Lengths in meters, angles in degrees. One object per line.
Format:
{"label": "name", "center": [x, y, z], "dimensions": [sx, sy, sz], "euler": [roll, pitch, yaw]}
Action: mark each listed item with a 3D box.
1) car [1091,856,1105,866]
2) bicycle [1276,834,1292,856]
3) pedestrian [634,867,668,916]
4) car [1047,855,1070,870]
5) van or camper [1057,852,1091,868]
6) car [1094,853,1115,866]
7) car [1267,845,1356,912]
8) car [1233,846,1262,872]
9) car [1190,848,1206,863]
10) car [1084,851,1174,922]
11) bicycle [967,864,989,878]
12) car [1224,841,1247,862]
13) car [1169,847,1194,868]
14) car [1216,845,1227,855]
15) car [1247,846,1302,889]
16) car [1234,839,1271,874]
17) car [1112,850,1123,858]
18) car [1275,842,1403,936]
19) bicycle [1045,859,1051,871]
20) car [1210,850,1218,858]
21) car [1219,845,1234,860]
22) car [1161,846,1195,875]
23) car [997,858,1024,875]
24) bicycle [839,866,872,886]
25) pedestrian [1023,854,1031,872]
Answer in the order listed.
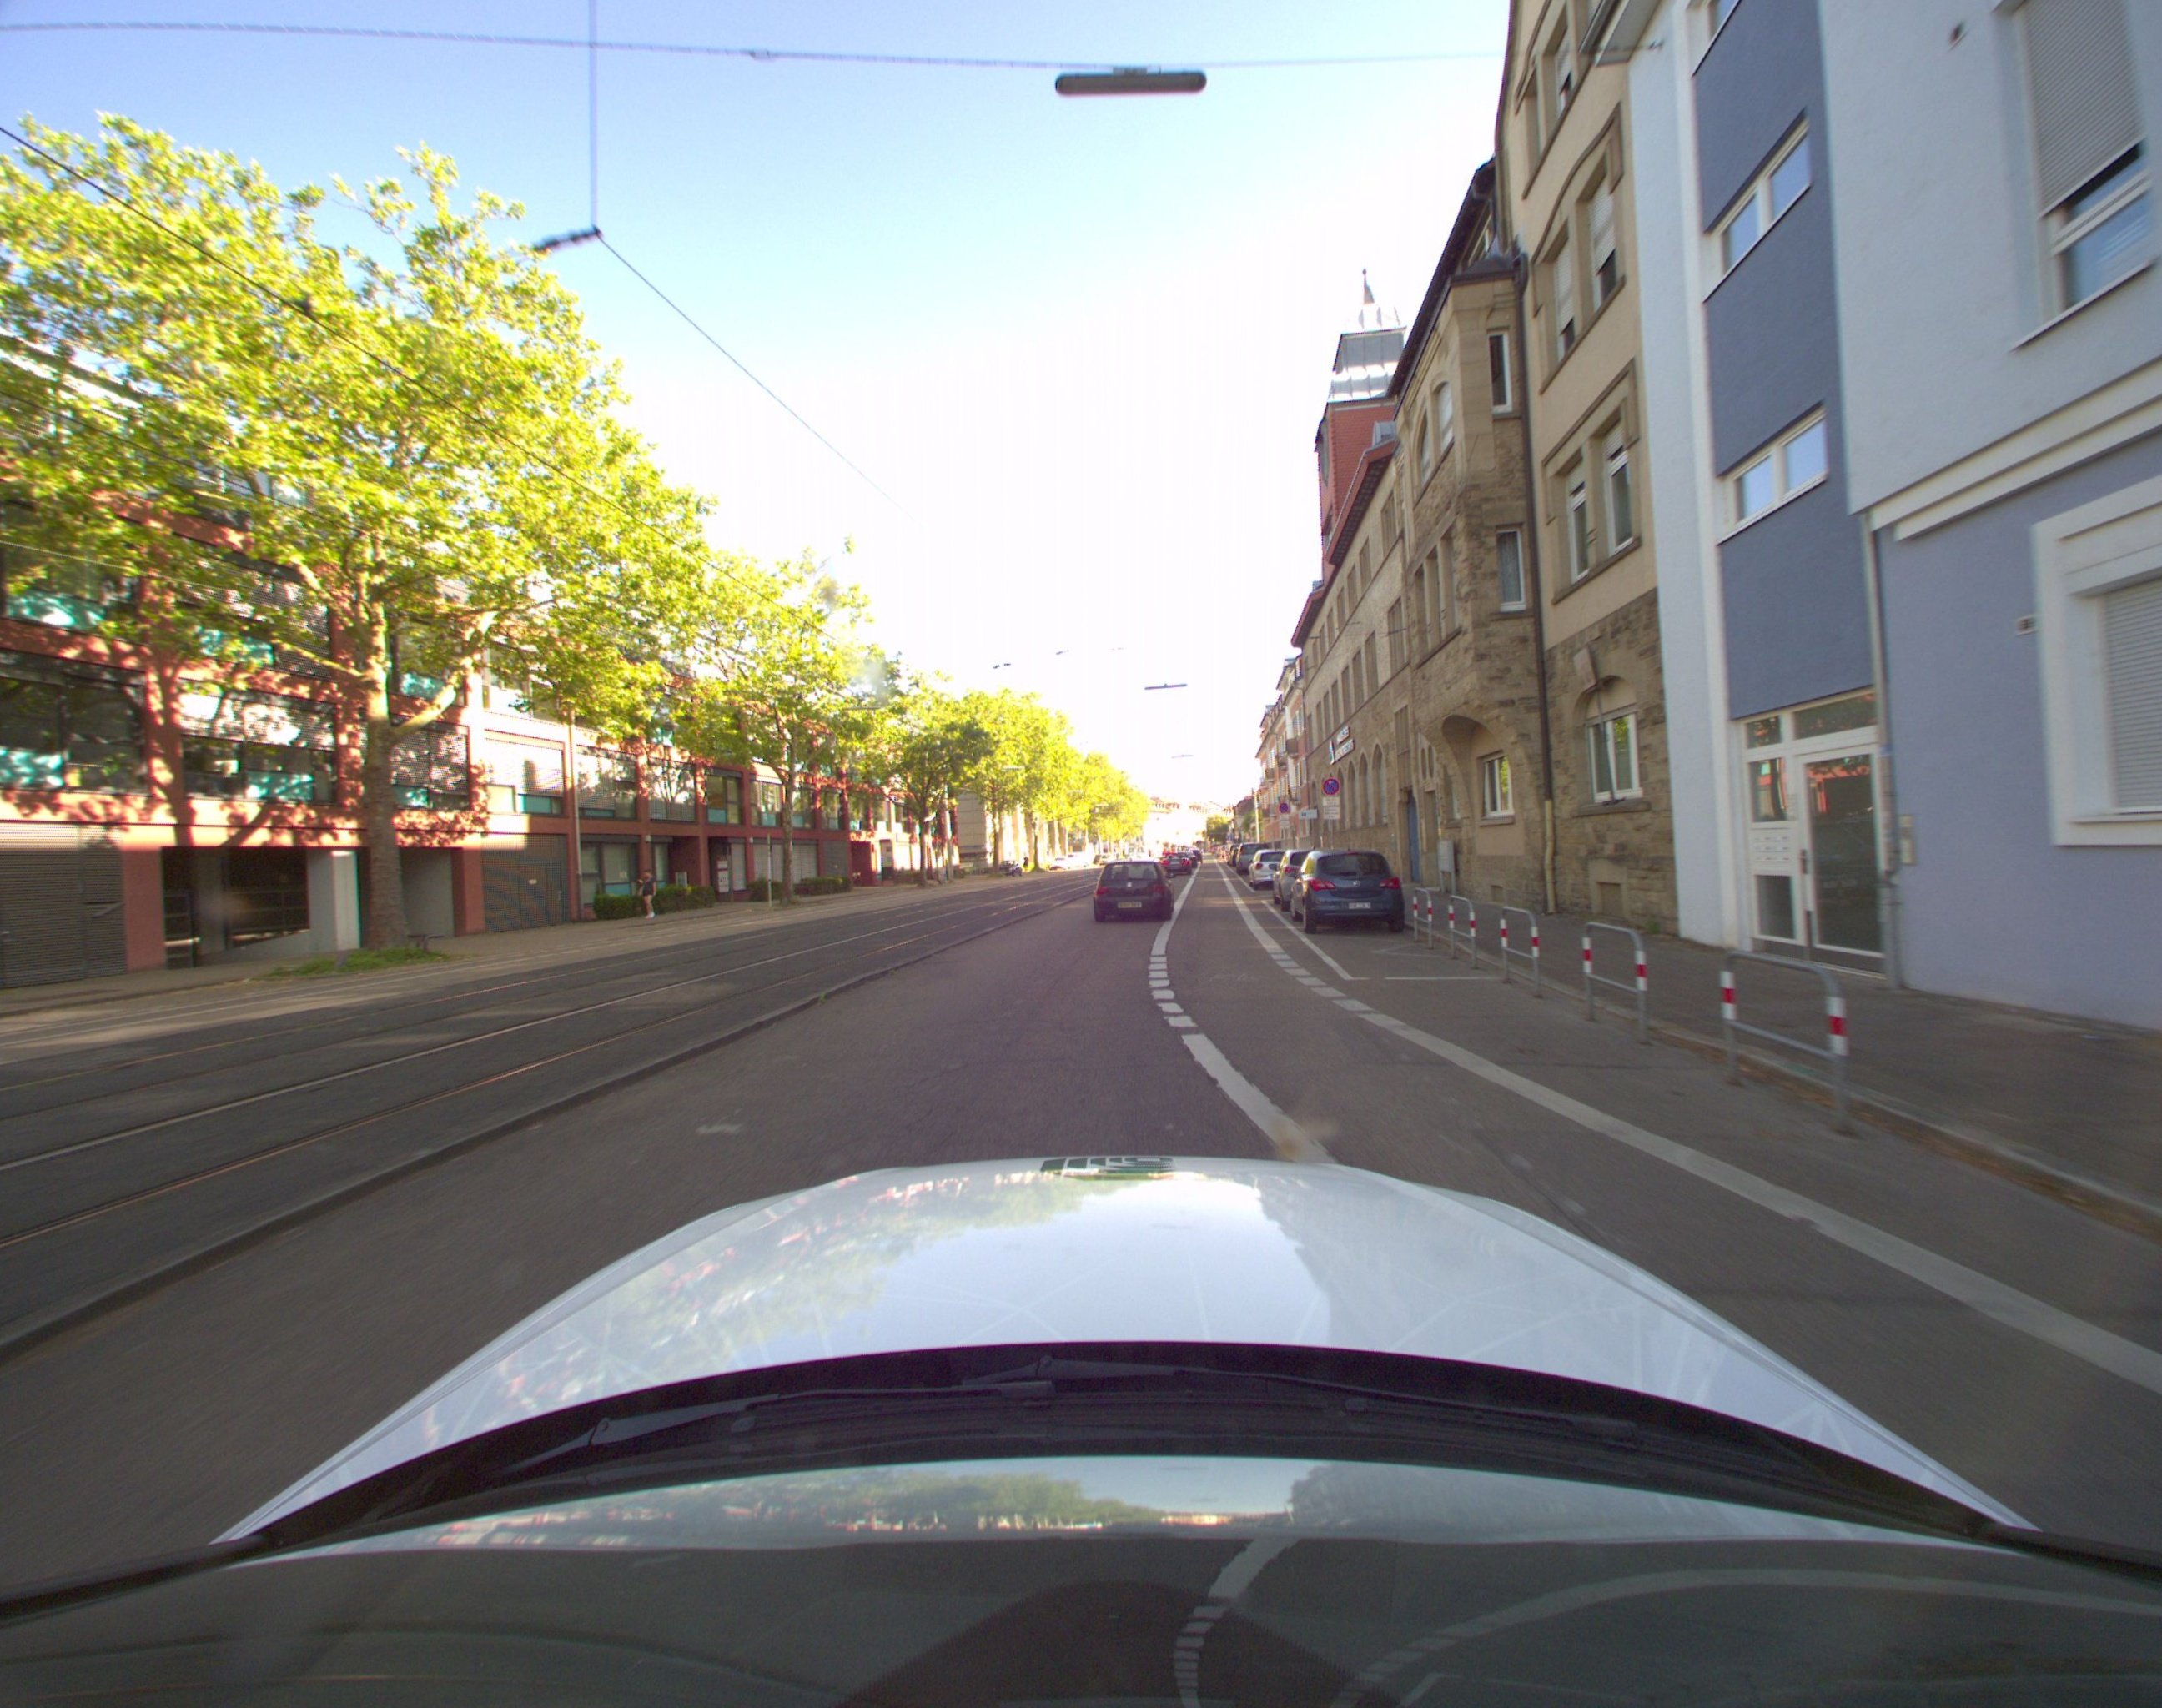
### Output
{"label": "car", "center": [2.707, 1.171, 129.676], "dimensions": [1.561, 1.533, 3.581], "euler": [-3, -1, 9]}
{"label": "bicycle", "center": [10.784, -0.473, 43.347], "dimensions": [0.512, 1.139, 2.264], "euler": [-4, 0, 8]}
{"label": "pedestrian", "center": [-15.399, 1.333, 29.172], "dimensions": [0.622, 1.718, 0.902], "euler": [-1, 0, 8]}
{"label": "car", "center": [-2.599, 0.995, 95.496], "dimensions": [2.001, 1.572, 4.703], "euler": [-1, 0, 7]}
{"label": "van or camper", "center": [-0.840, 0.791, 105.733], "dimensions": [2.041, 1.949, 5.221], "euler": [-1, 1, 29]}
{"label": "car", "center": [3.066, 0.713, 105.011], "dimensions": [1.741, 1.518, 4.086], "euler": [-5, -1, 13]}
{"label": "car", "center": [5.753, 0.556, 20.748], "dimensions": [1.742, 1.500, 4.208], "euler": [-1, 0, 10]}
{"label": "car", "center": [10.251, 0.295, 50.350], "dimensions": [1.621, 1.511, 3.727], "euler": [-1, 0, 10]}
{"label": "car", "center": [12.794, 0.175, 88.722], "dimensions": [1.626, 1.472, 3.739], "euler": [-3, 0, 9]}
{"label": "car", "center": [1.228, 0.681, 19.107], "dimensions": [1.739, 1.375, 4.009], "euler": [-3, 0, 7]}
{"label": "bicycle", "center": [-9.960, 1.658, 78.537], "dimensions": [1.996, 1.278, 0.666], "euler": [-1, 0, 9]}
{"label": "car", "center": [13.834, -0.238, 73.232], "dimensions": [1.693, 1.810, 4.280], "euler": [-3, 0, 7]}
{"label": "car", "center": [8.139, 0.270, 65.704], "dimensions": [1.738, 1.537, 3.902], "euler": [-3, 0, 9]}
{"label": "car", "center": [25.988, -0.773, 150.514], "dimensions": [1.807, 1.799, 4.010], "euler": [-3, 0, 9]}
{"label": "car", "center": [7.247, 0.452, 30.854], "dimensions": [1.703, 1.500, 4.237], "euler": [-1, 0, 9]}
{"label": "car", "center": [9.560, 0.121, 45.753], "dimensions": [1.742, 1.855, 4.828], "euler": [-2, 0, 9]}
{"label": "car", "center": [6.969, -0.040, 155.219], "dimensions": [1.782, 1.465, 3.845], "euler": [0, 0, 9]}
{"label": "car", "center": [4.682, 0.570, 15.290], "dimensions": [1.645, 1.482, 4.010], "euler": [-2, 0, 8]}
{"label": "bicycle", "center": [-3.649, 1.193, 90.001], "dimensions": [0.578, 1.209, 1.655], "euler": [-1, 0, 3]}
{"label": "car", "center": [31.285, -0.010, 191.853], "dimensions": [1.658, 1.598, 3.659], "euler": [-2, 0, 9]}
{"label": "car", "center": [19.373, -0.200, 108.548], "dimensions": [1.749, 1.837, 3.556], "euler": [-1, 0, 9]}
{"label": "car", "center": [5.845, 0.352, 48.859], "dimensions": [1.738, 1.537, 3.902], "euler": [-3, 0, 9]}
{"label": "car", "center": [-6.143, 1.090, 71.424], "dimensions": [1.498, 1.454, 3.472], "euler": [-3, -1, 10]}
{"label": "bicycle", "center": [-15.020, 1.472, 54.226], "dimensions": [2.048, 1.272, 0.621], "euler": [0, 2, 12]}
{"label": "pedestrian", "center": [-5.724, 0.955, 86.088], "dimensions": [0.784, 1.870, 0.669], "euler": [-1, 0, -6]}
